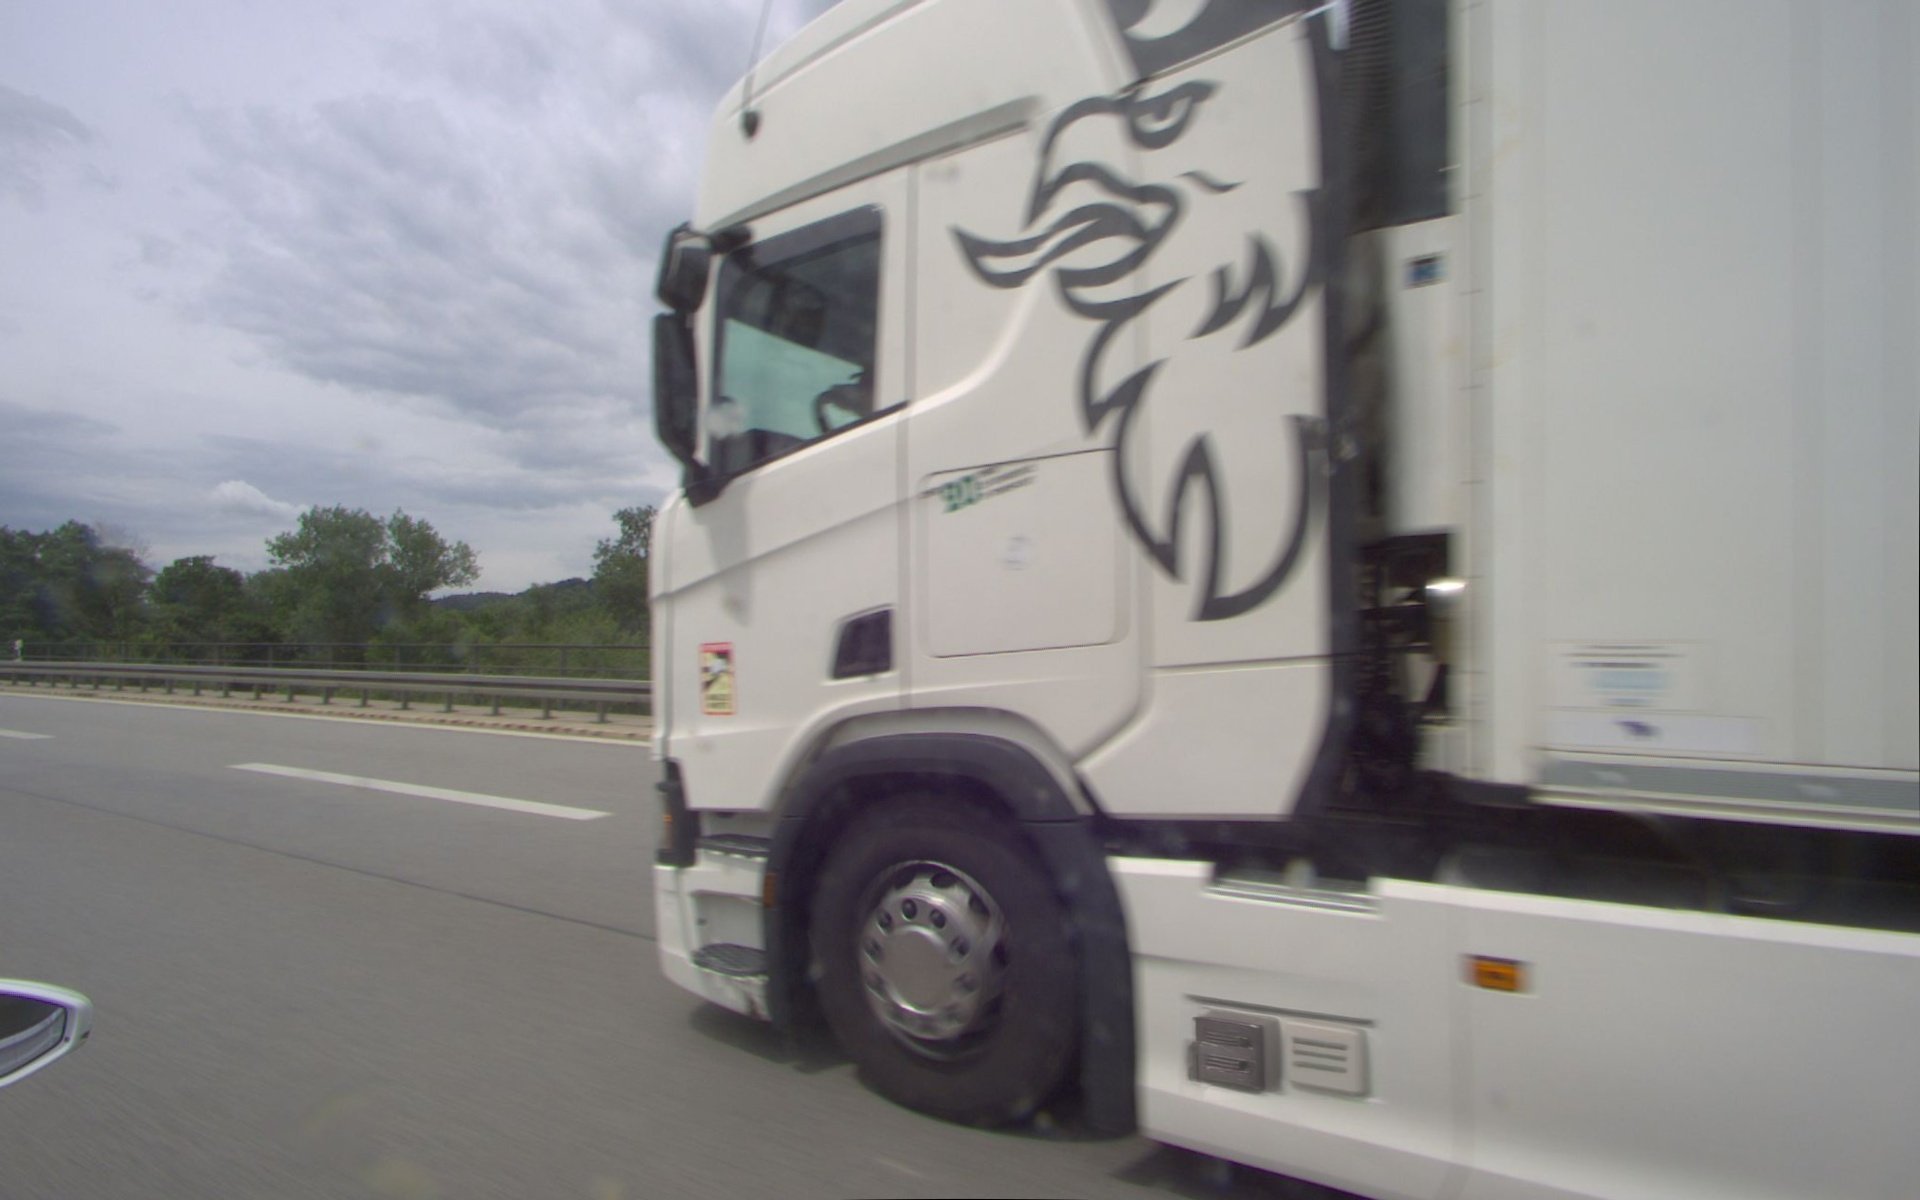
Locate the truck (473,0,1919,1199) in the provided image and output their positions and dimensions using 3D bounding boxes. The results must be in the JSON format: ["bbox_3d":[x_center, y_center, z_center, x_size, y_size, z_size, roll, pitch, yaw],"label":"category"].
[{"bbox_3d":[1.316,-0.471,3.738,5.917,3.941,3.056,-1,-2,34],"label":"truck"}]
